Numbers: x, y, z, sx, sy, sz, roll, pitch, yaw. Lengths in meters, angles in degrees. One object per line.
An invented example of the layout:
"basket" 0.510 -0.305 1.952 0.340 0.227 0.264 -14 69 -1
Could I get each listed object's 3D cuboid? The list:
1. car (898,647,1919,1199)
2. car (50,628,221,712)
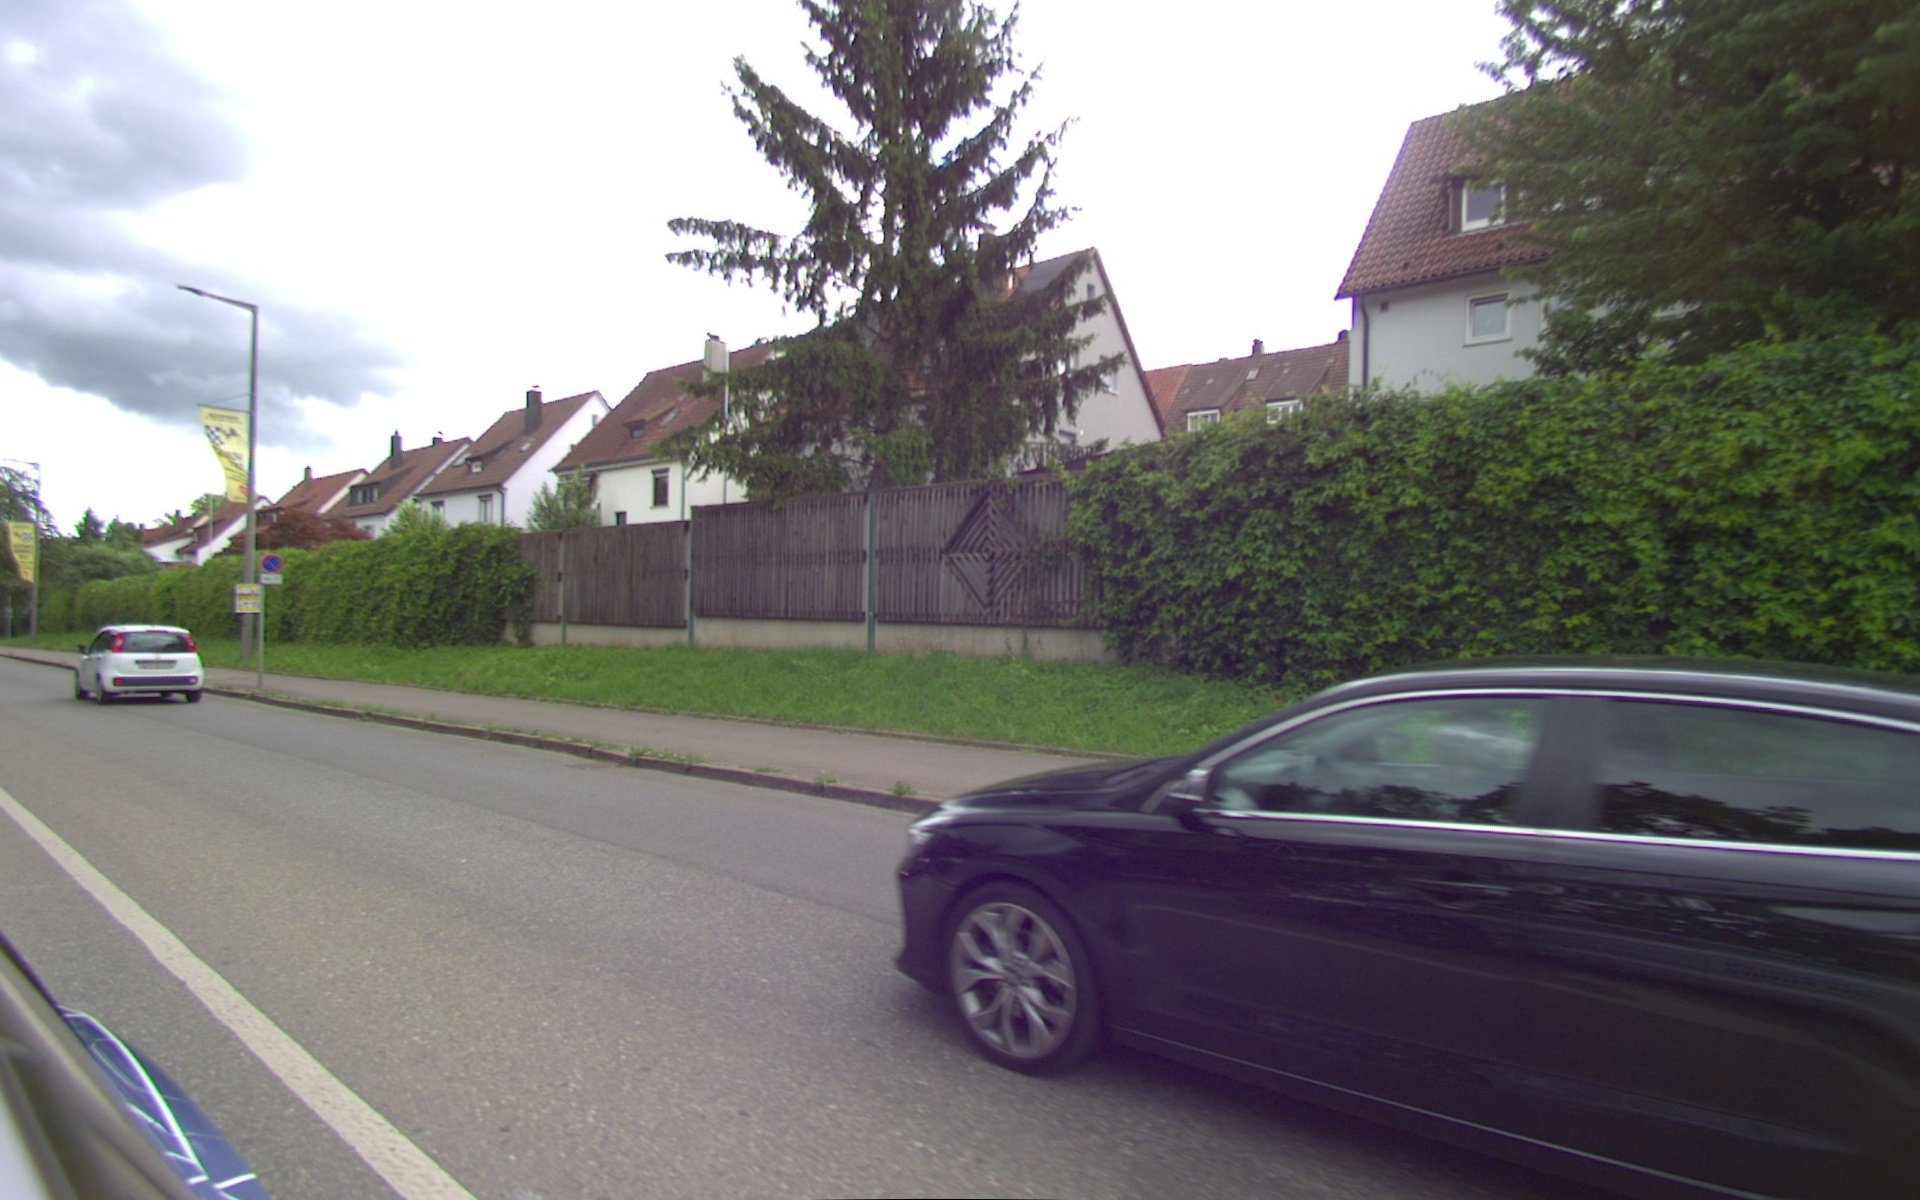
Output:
"car" 1.908 0.857 3.045 4.159 1.383 1.793 -2 -3 42
"car" -17.046 1.376 20.845 4.696 1.536 1.794 -2 -4 40
